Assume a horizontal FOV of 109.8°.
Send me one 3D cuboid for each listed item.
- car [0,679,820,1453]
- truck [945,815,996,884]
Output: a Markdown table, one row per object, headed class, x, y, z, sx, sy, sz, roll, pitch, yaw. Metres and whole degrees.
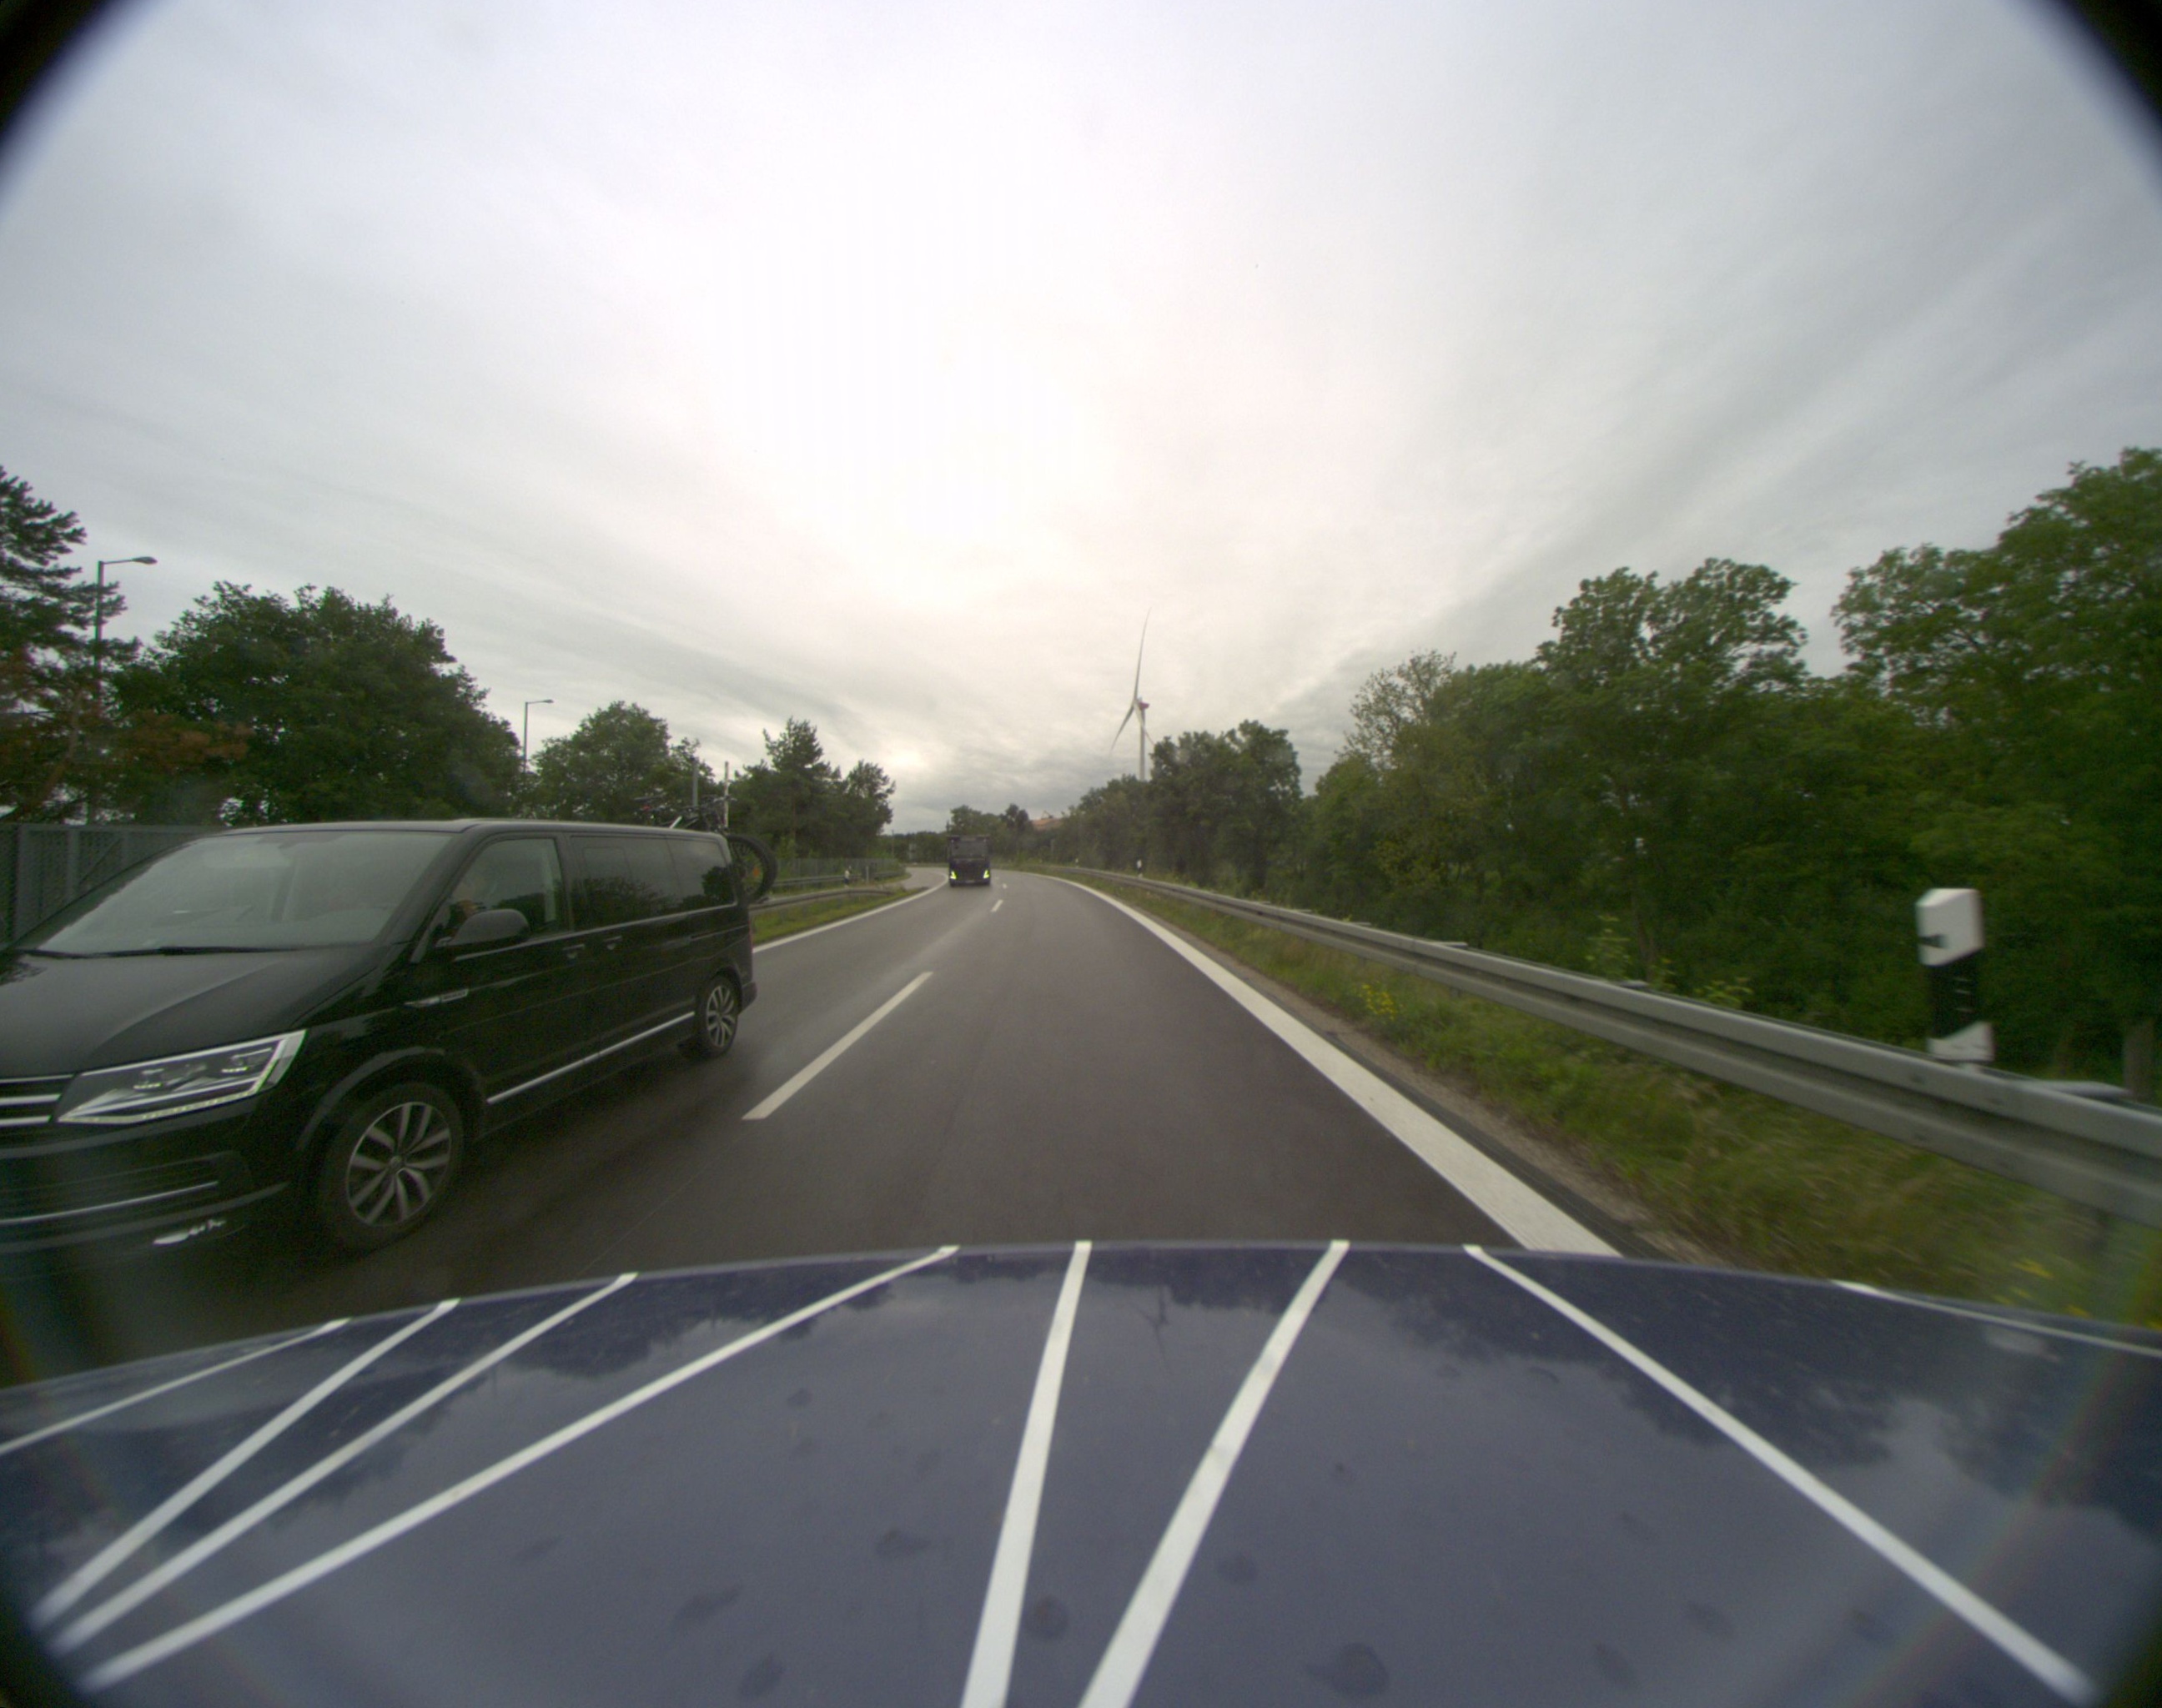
| class | x | y | z | sx | sy | sz | roll | pitch | yaw |
| --- | --- | --- | --- | --- | --- | --- | --- | --- | --- |
| car | -3.952 | 0.658 | 5.171 | 2.115 | 2.251 | 5.896 | -3 | 0 | 1 |
| truck | -7.098 | -0.257 | 48.869 | 2.747 | 3.944 | 9.121 | -3 | 0 | -8 |
